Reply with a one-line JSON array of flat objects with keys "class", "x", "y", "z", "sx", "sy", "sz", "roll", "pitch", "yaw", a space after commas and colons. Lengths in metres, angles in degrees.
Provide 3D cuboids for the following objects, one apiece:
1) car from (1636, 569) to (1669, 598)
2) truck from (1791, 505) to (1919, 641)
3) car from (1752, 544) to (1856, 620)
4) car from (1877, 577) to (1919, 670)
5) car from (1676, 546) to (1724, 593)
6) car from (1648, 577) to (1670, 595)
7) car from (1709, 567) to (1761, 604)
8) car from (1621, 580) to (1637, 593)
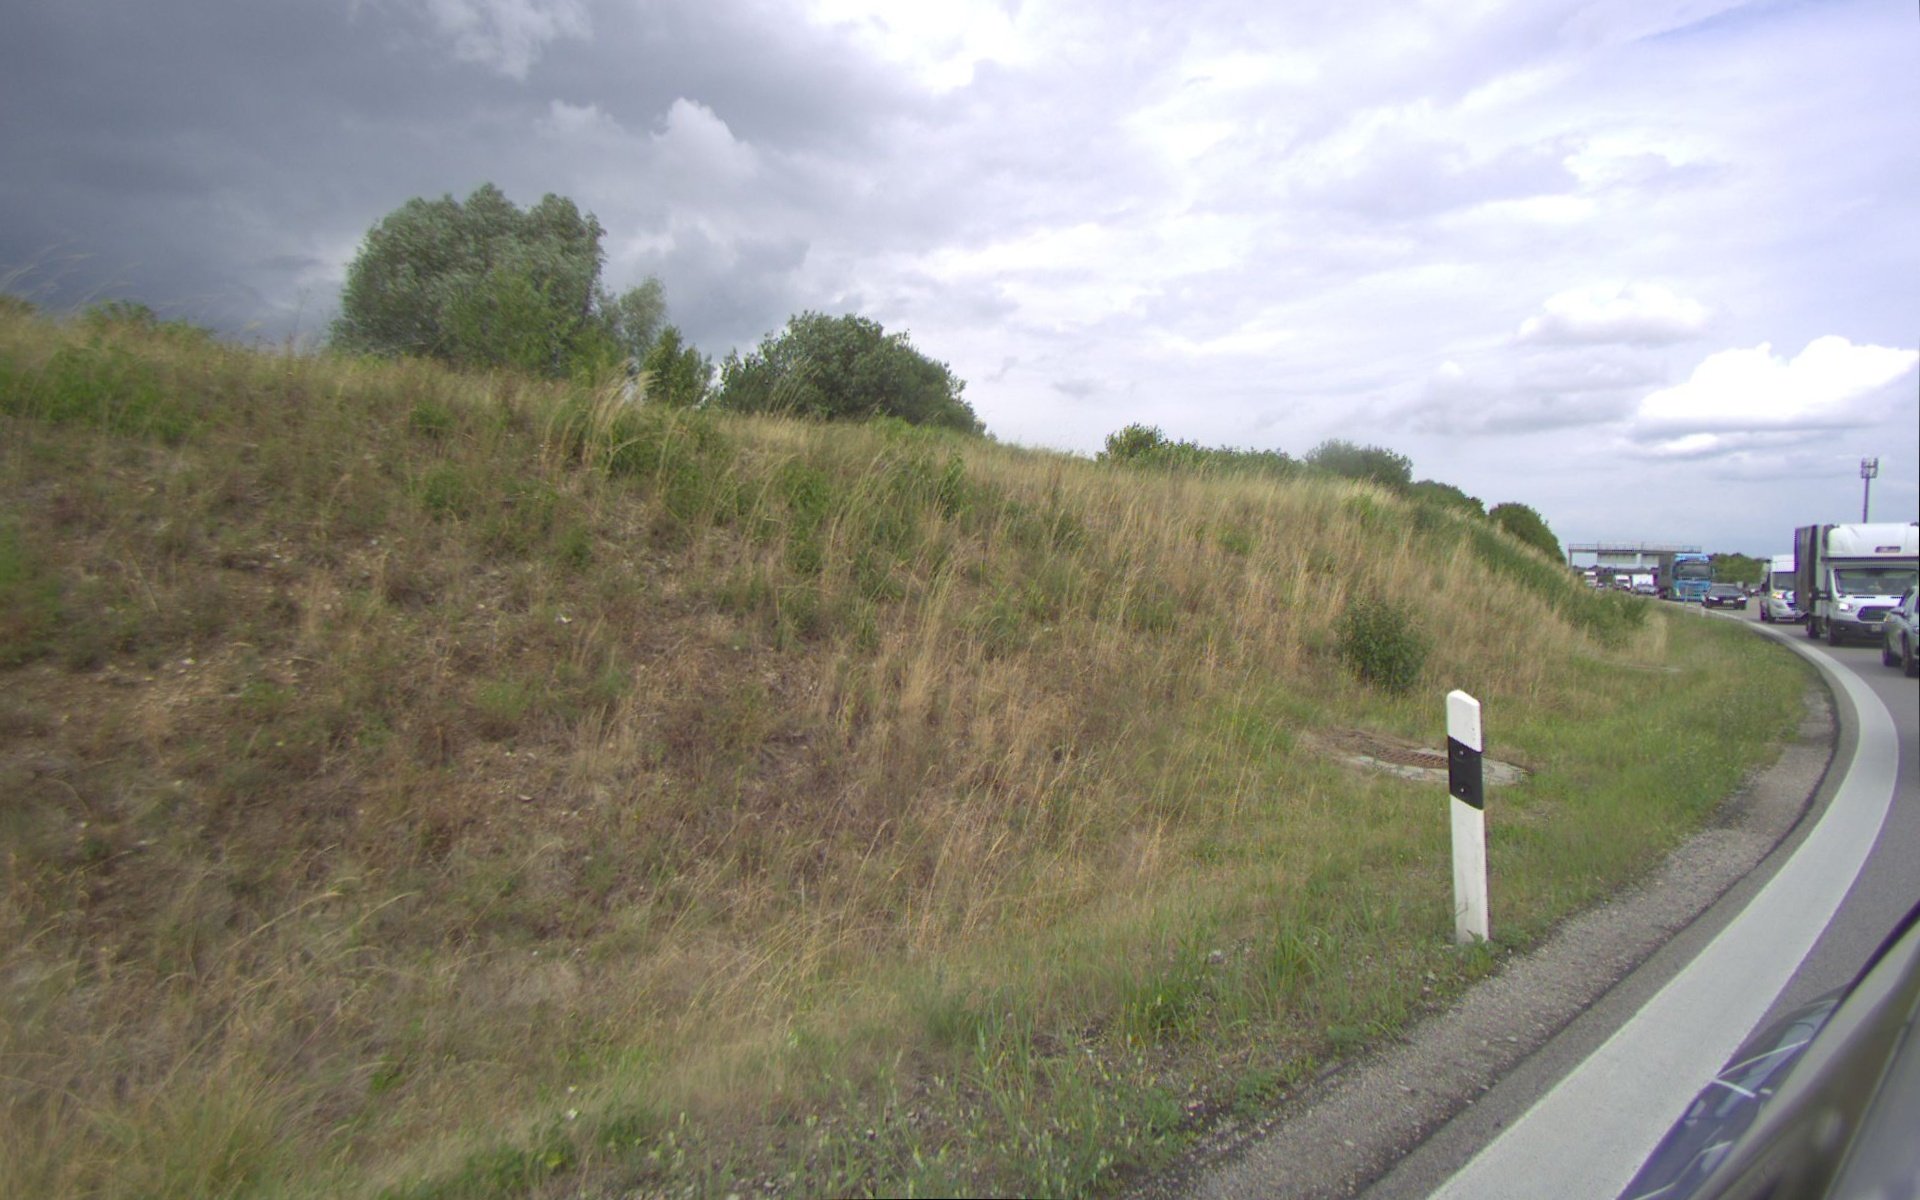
[{"class": "car", "x": 86.148, "y": -2.081, "z": 125.932, "sx": 2.924, "sy": 3.509, "sz": 6.500, "roll": 1, "pitch": 2, "yaw": 31}, {"class": "truck", "x": 24.746, "y": -0.721, "z": 27.420, "sx": 2.431, "sy": 3.275, "sz": 7.112, "roll": 1, "pitch": 2, "yaw": 31}, {"class": "car", "x": 33.439, "y": -0.749, "z": 40.314, "sx": 2.005, "sy": 2.779, "sz": 6.855, "roll": 1, "pitch": 2, "yaw": 30}, {"class": "car", "x": 18.106, "y": 0.404, "z": 17.997, "sx": 1.985, "sy": 1.595, "sz": 3.954, "roll": 1, "pitch": 2, "yaw": 33}, {"class": "car", "x": 61.996, "y": -2.573, "z": 84.907, "sx": 2.486, "sy": 3.757, "sz": 7.619, "roll": 1, "pitch": 2, "yaw": 31}, {"class": "car", "x": 82.779, "y": -1.685, "z": 119.860, "sx": 1.916, "sy": 2.057, "sz": 3.955, "roll": 1, "pitch": 2, "yaw": 32}, {"class": "car", "x": 45.794, "y": -0.885, "z": 59.893, "sx": 1.984, "sy": 2.038, "sz": 3.956, "roll": 1, "pitch": 2, "yaw": 31}, {"class": "car", "x": 109.858, "y": -2.272, "z": 166.180, "sx": 1.984, "sy": 2.039, "sz": 3.957, "roll": -1, "pitch": 1, "yaw": 31}]
